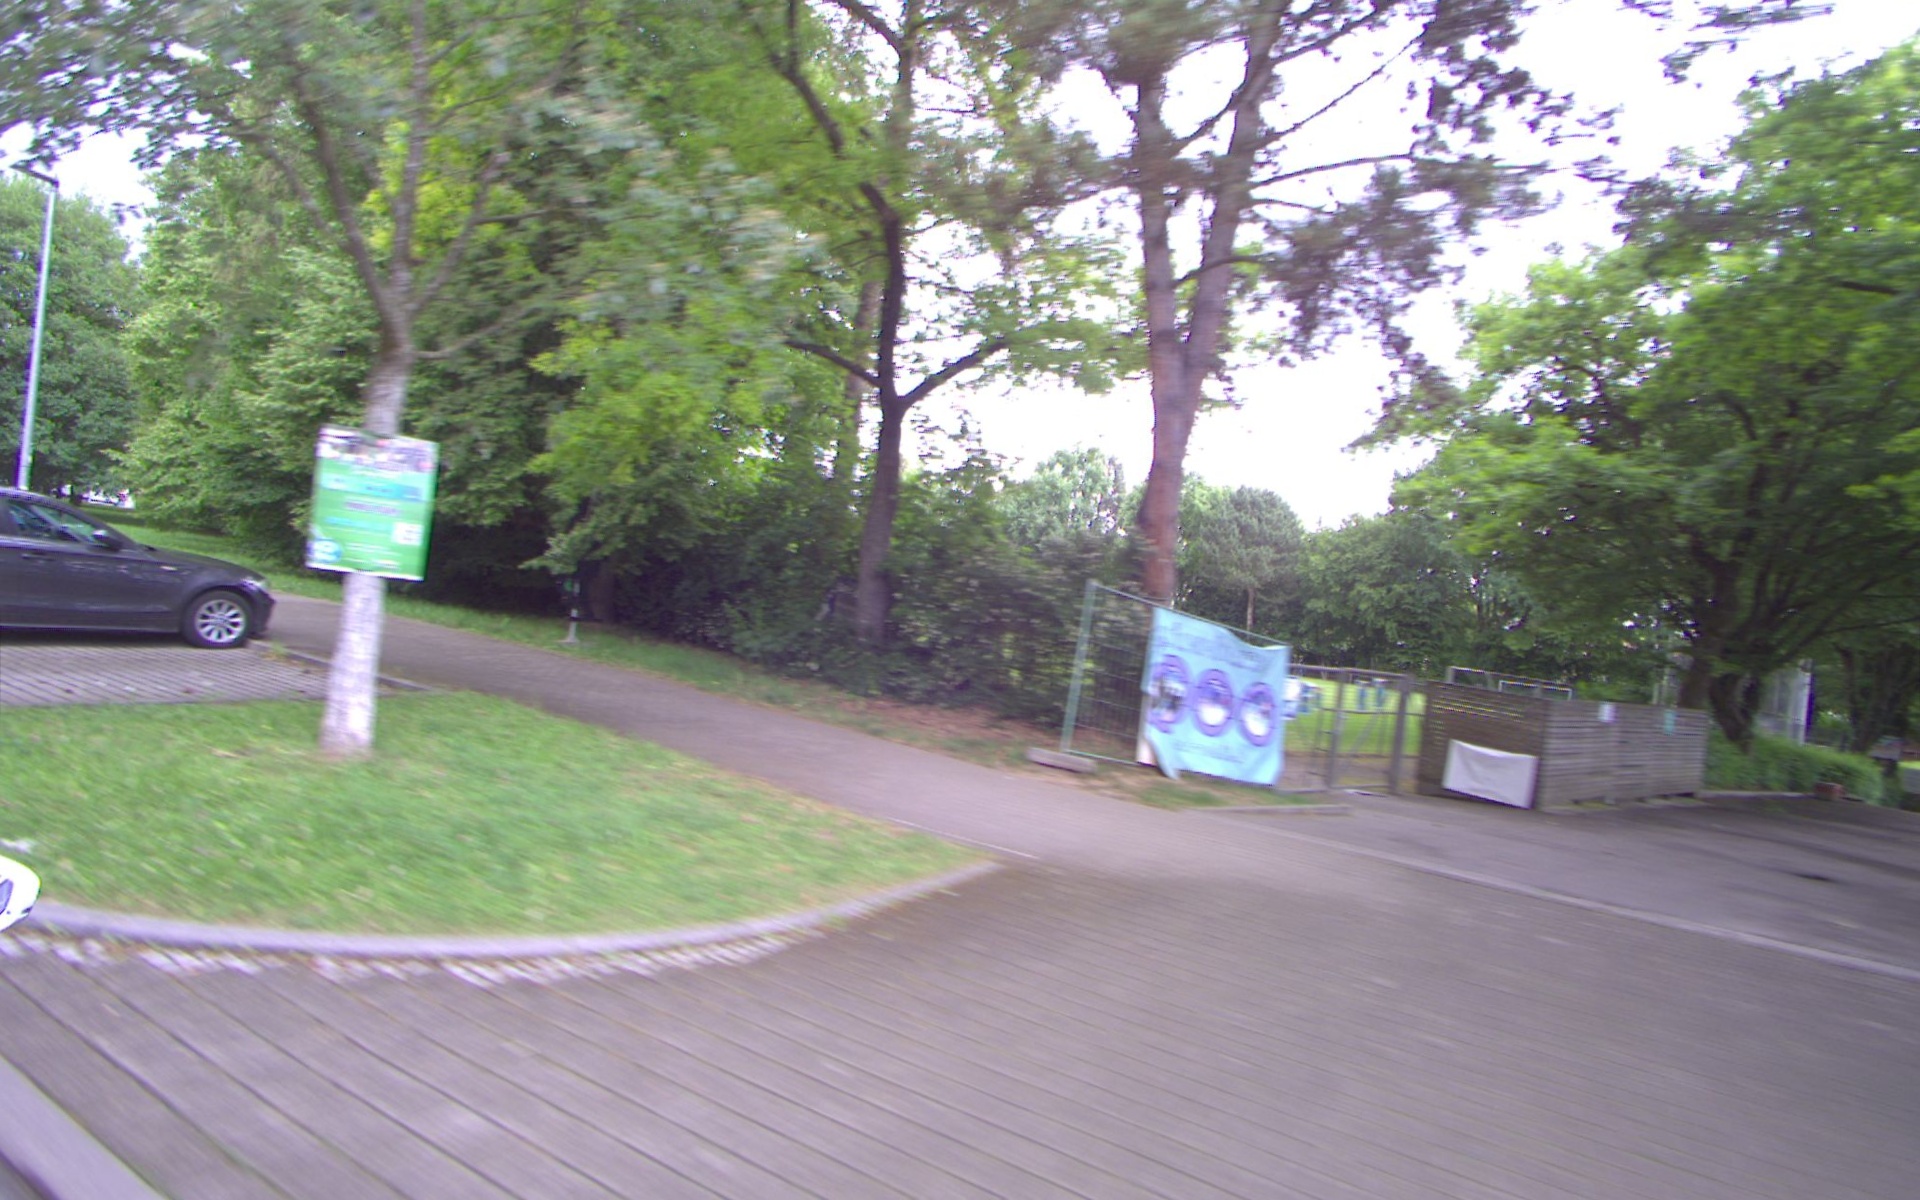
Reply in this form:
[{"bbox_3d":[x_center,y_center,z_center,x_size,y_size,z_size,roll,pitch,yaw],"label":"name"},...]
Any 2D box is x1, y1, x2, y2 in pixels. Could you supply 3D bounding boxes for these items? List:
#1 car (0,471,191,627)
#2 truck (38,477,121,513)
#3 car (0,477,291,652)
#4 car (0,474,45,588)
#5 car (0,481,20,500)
[{"bbox_3d":[-11.090,-0.678,10.741,1.755,1.590,4.142,7,0,28],"label":"car"},{"bbox_3d":[-83.557,-9.956,95.537,2.159,2.456,5.506,7,0,36],"label":"truck"},{"bbox_3d":[-8.947,-0.392,9.371,1.755,1.482,4.093,7,0,28],"label":"car"},{"bbox_3d":[-15.186,-1.175,13.280,1.754,1.590,4.167,7,0,26],"label":"car"},{"bbox_3d":[-87.371,-10.051,90.151,1.677,1.545,4.282,7,0,37],"label":"car"}]
